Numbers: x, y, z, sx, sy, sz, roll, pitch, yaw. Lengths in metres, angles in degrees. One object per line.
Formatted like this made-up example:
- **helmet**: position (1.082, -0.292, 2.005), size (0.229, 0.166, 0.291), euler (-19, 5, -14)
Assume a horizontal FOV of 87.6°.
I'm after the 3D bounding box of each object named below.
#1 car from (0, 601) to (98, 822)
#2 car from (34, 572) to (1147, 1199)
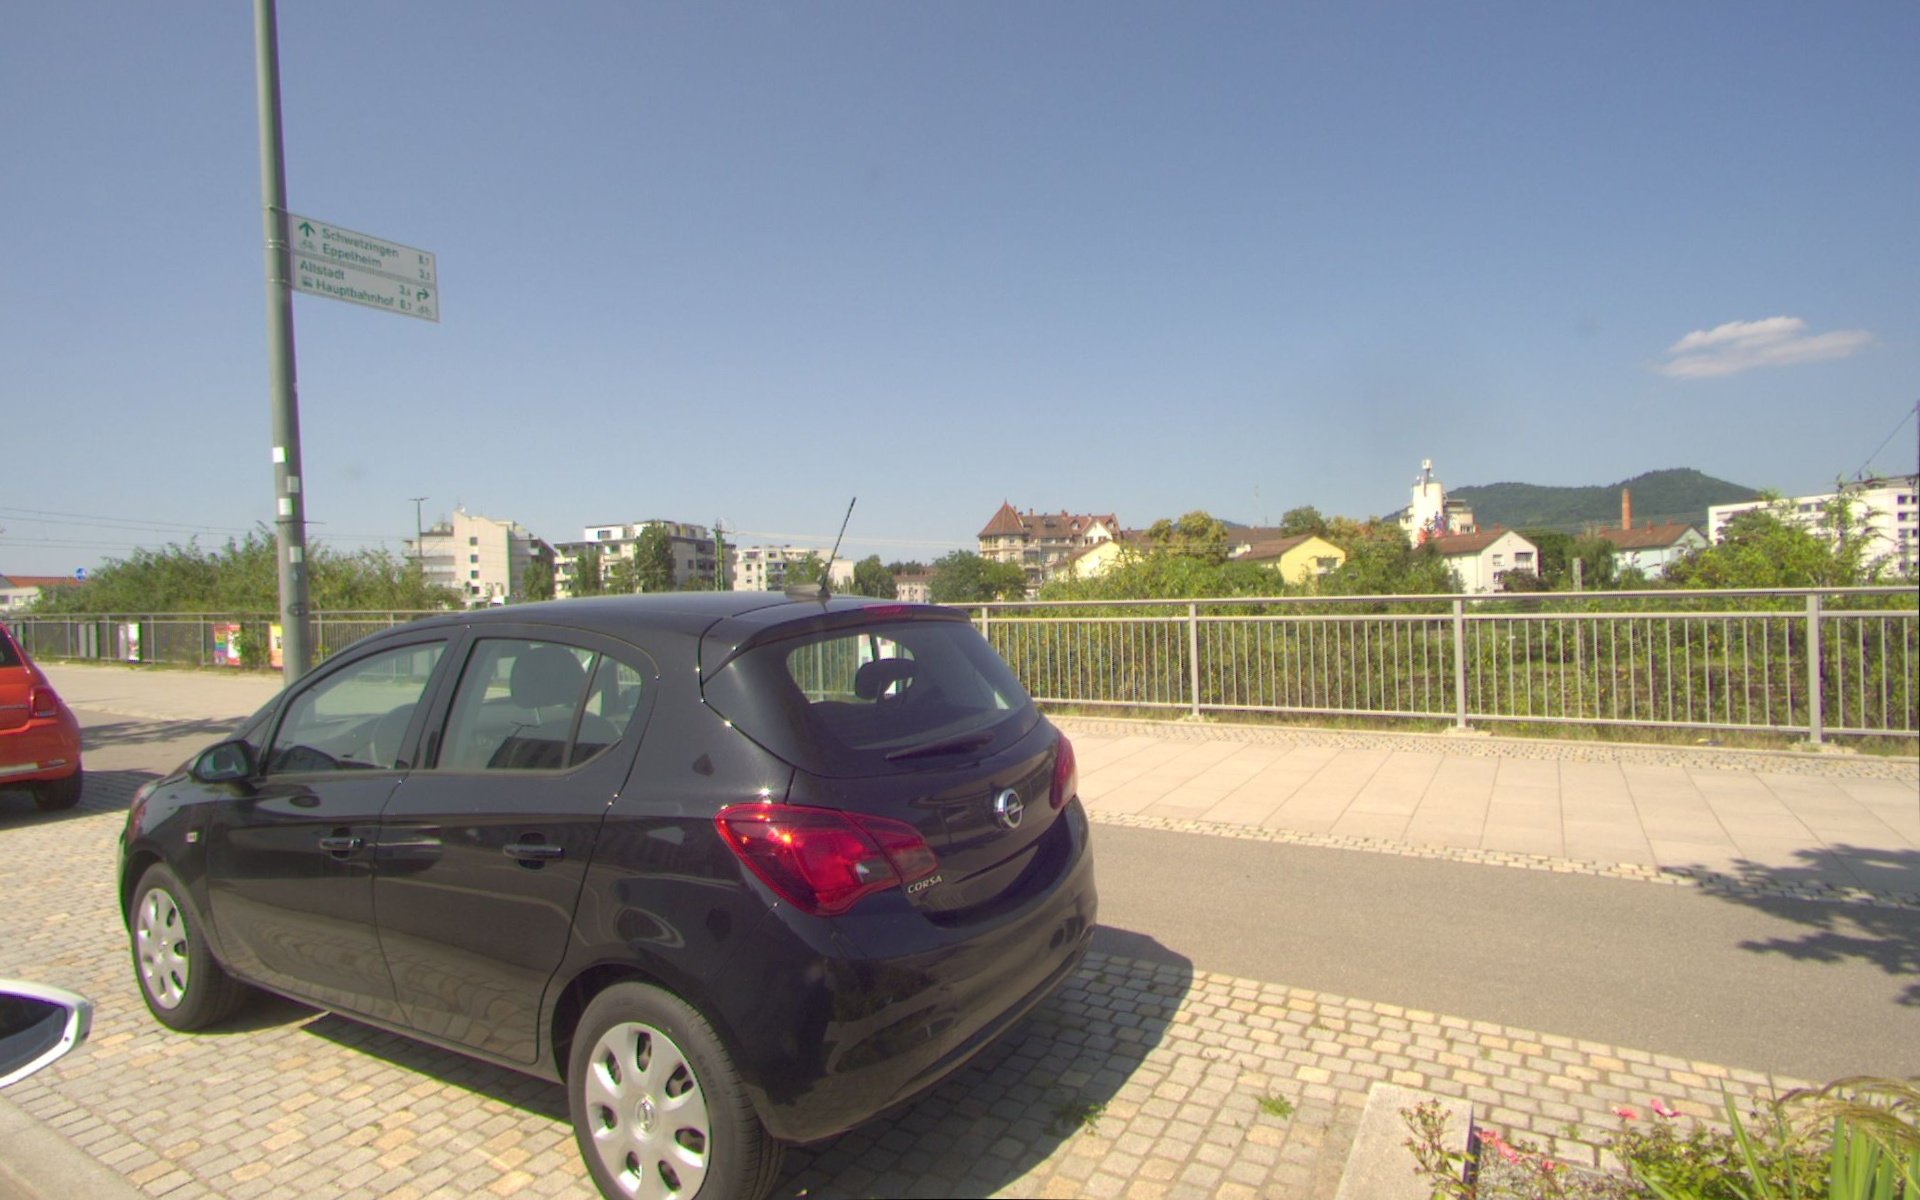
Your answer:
- **car**: position (-8.168, 0.802, 7.591), size (3.305, 1.517, 1.606), euler (-1, 2, 34)
- **car**: position (-1.507, 0.695, 3.596), size (3.943, 1.446, 1.656), euler (-1, 1, 32)
